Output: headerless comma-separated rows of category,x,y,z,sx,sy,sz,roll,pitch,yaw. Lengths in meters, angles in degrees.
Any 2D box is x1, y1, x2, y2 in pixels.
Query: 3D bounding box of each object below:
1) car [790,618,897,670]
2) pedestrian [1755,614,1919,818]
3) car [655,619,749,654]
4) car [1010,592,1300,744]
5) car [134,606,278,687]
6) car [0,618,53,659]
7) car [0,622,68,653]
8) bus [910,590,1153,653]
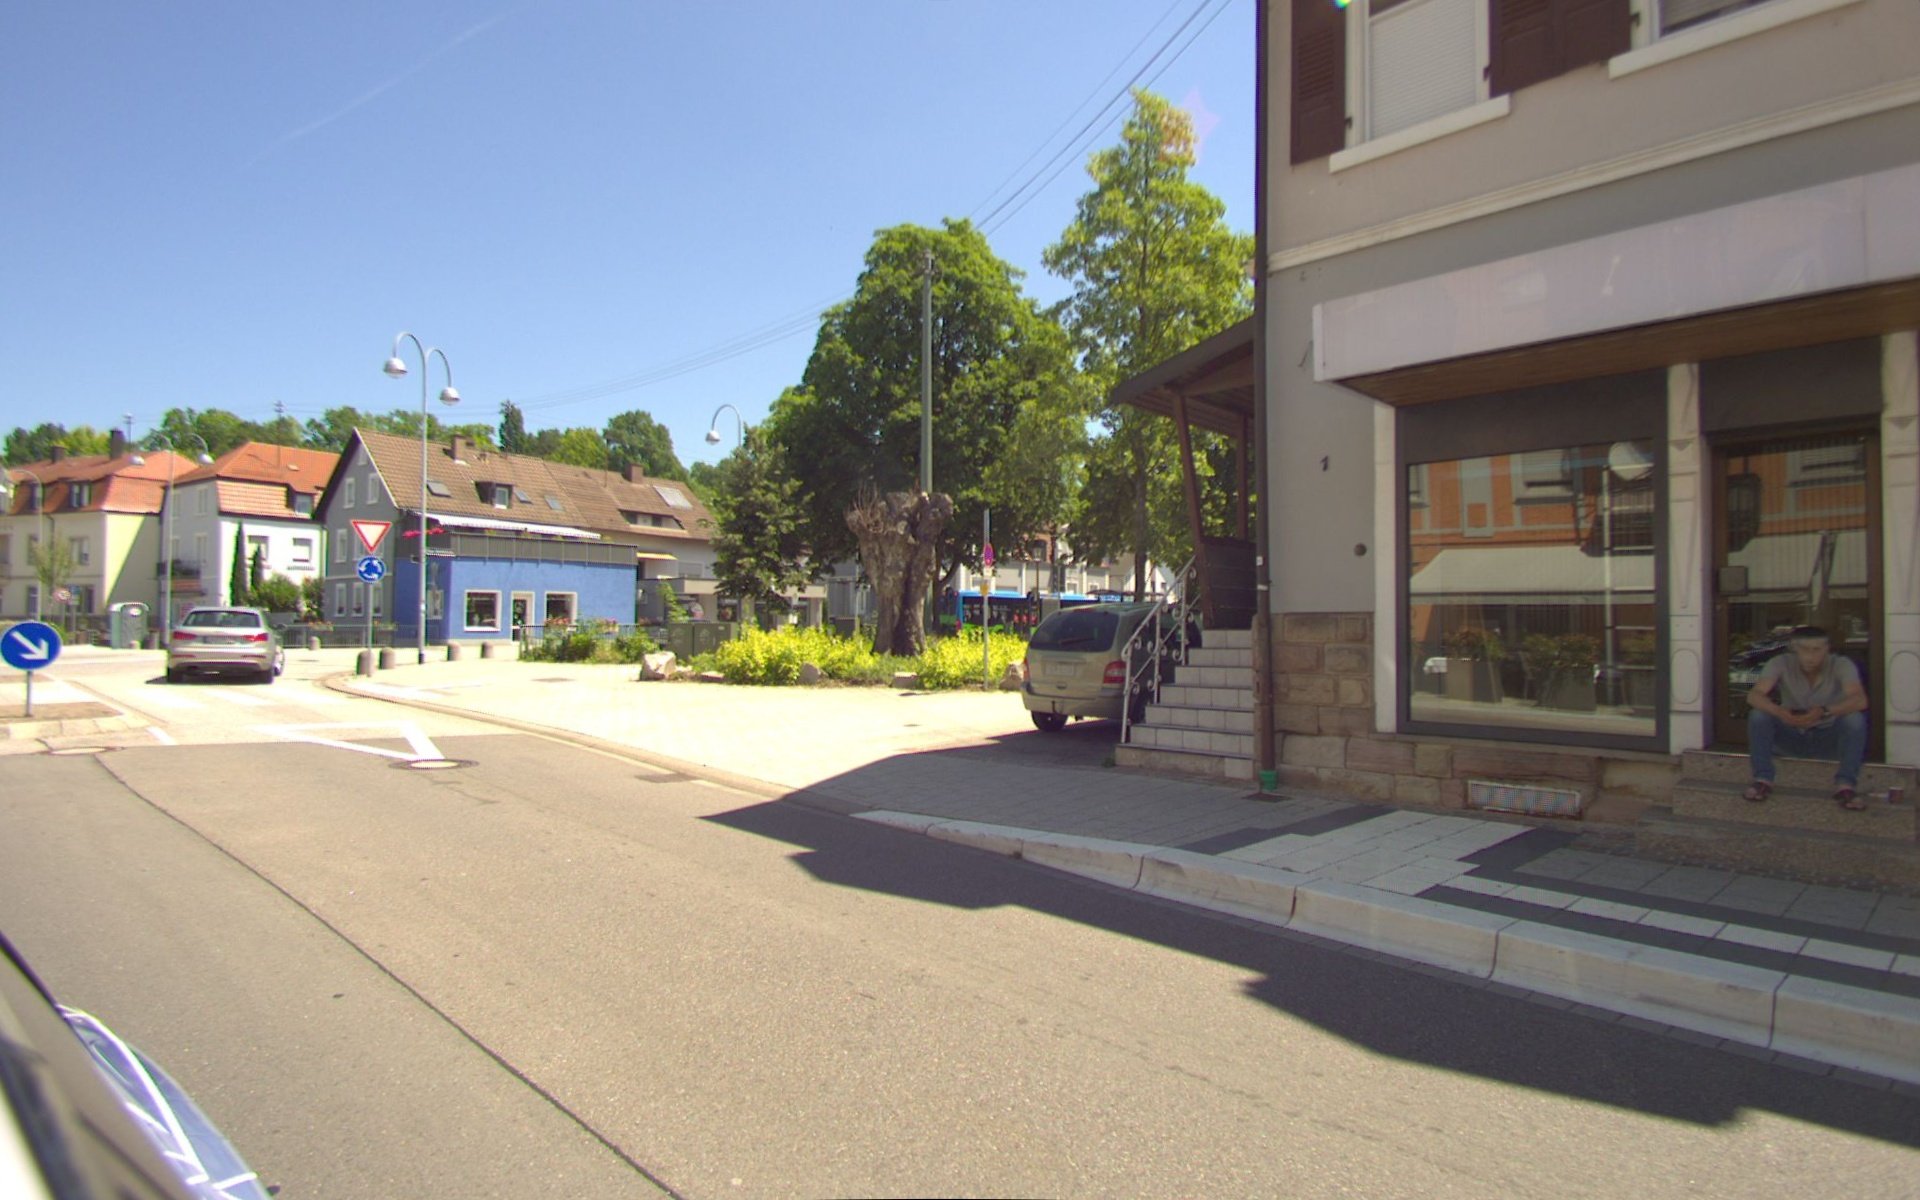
car,-3.702,1.377,32.149,3.047,1.564,1.618,-2,-2,30
pedestrian,4.988,0.615,5.741,0.699,1.062,0.663,-2,-2,41
car,-10.950,1.530,42.941,3.654,1.423,1.555,0,-1,-23
car,2.631,0.783,13.098,3.941,1.652,1.759,1,-2,-45
car,-16.028,0.959,21.452,4.083,1.555,1.657,-1,-4,43
car,-39.912,1.655,42.559,1.716,1.528,4.220,-2,-3,-29
car,-46.226,1.825,50.169,4.057,1.402,1.595,-1,1,27
bus,4.819,1.295,59.532,3.720,3.195,17.807,1,-1,44
